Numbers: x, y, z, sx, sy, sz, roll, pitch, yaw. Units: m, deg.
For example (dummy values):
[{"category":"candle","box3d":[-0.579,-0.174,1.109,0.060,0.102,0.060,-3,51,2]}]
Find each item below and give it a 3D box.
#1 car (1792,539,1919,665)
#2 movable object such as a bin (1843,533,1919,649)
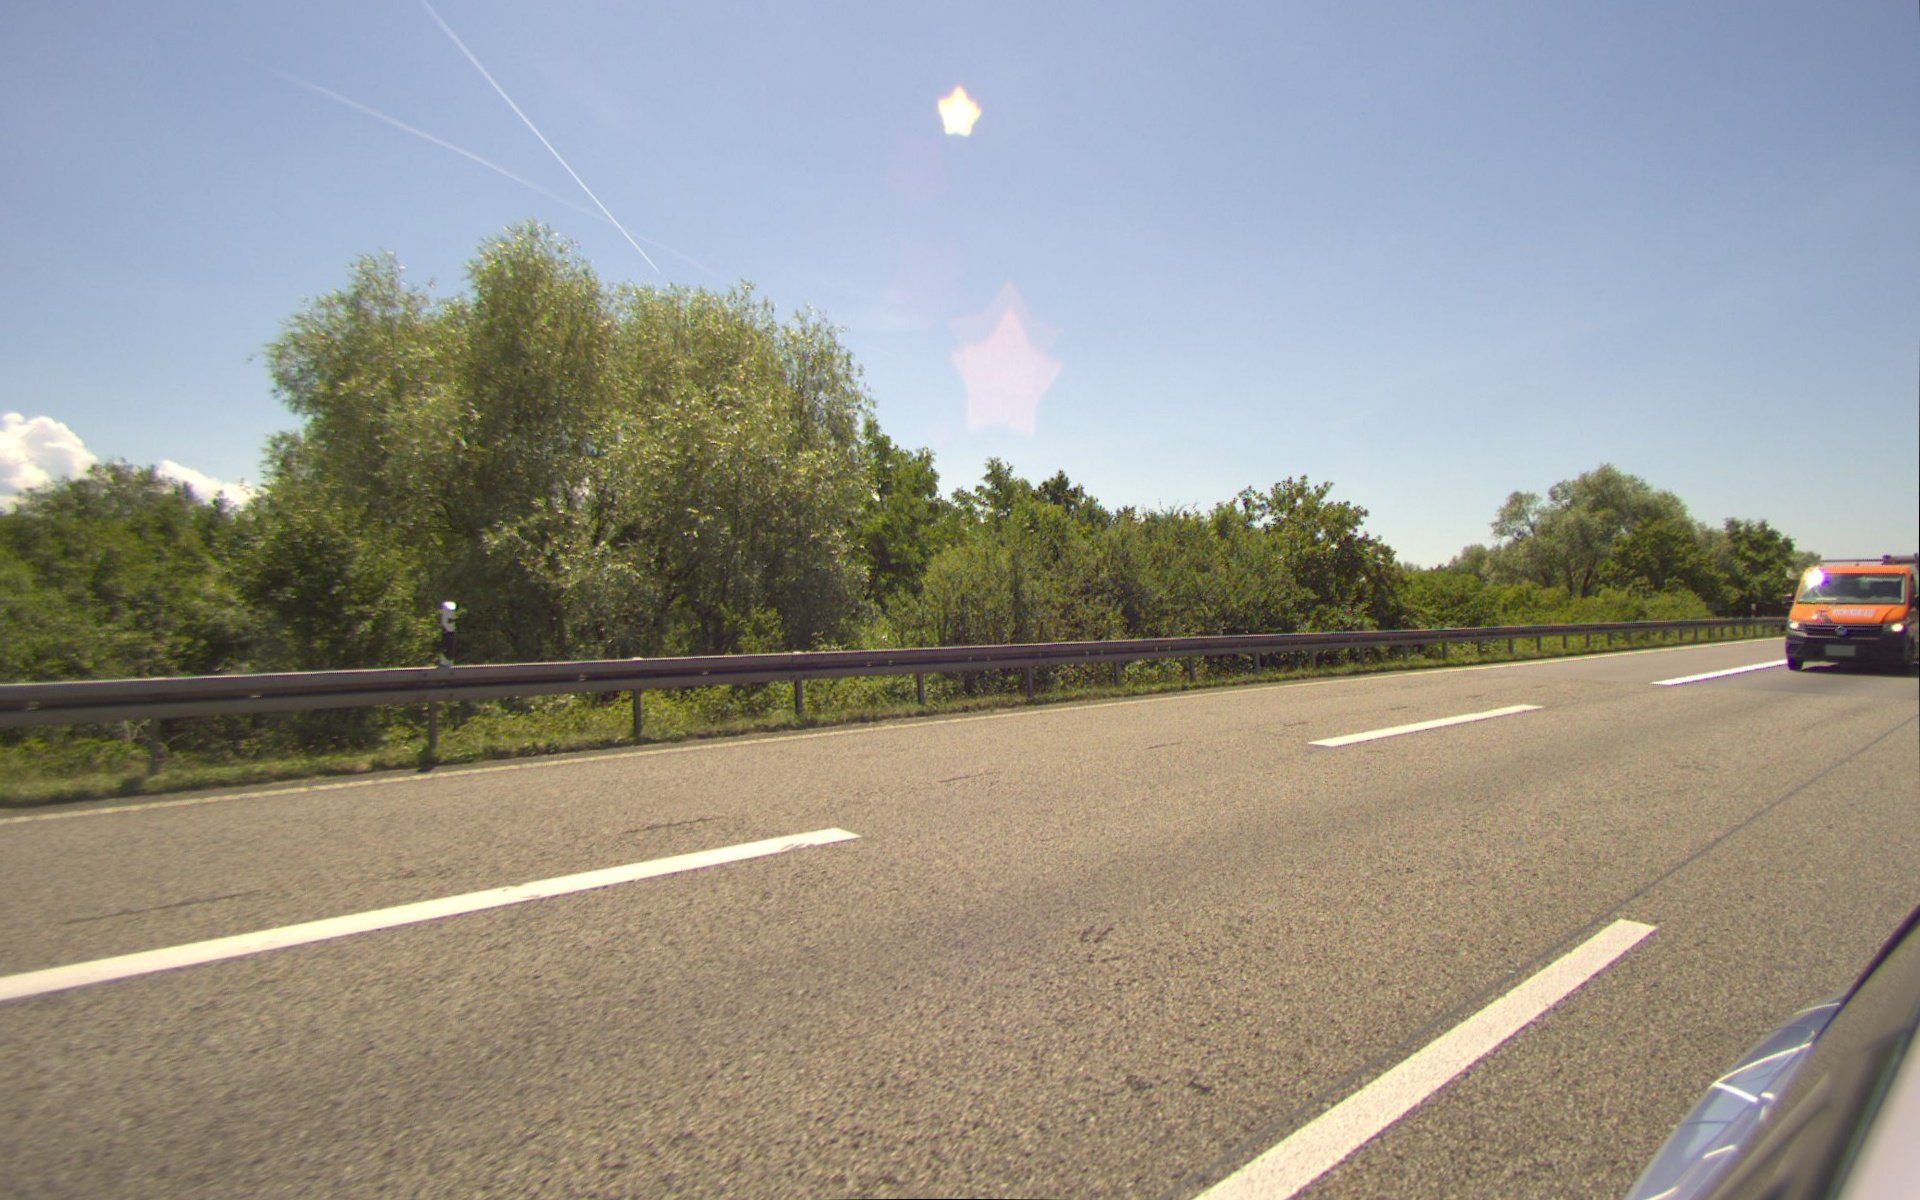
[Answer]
[{"category":"car","box3d":[20.784,0.057,22.719,7.097,2.436,1.997,0,0,-40]},{"category":"movable object such as a bin","box3d":[25.151,-0.209,26.632,4.676,2.851,2.178,1,-1,-40]}]
